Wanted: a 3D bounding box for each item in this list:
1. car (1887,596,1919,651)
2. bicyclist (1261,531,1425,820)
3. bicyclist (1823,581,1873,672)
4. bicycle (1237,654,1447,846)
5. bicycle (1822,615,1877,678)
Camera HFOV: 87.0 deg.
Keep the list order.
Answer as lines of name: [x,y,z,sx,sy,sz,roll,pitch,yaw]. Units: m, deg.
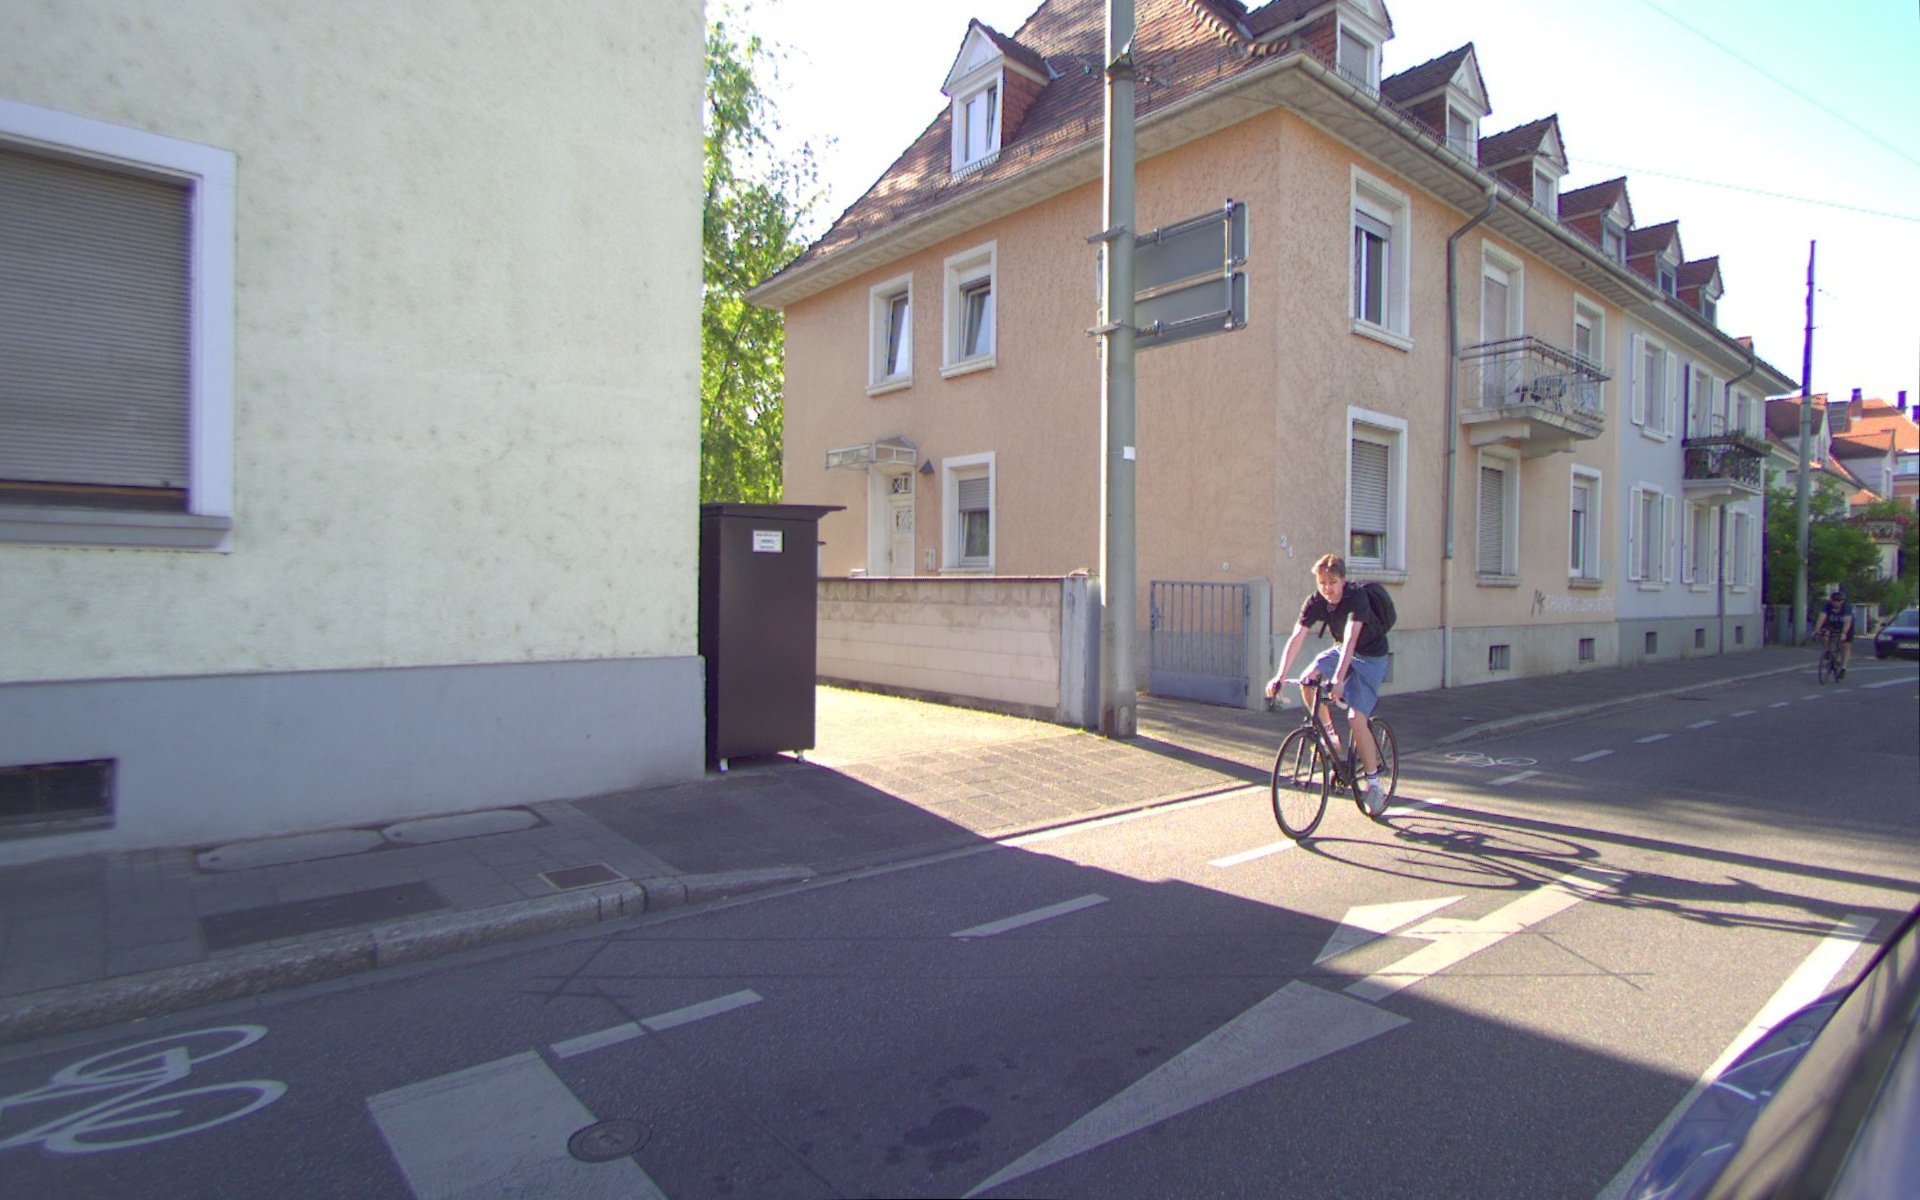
car: [26.710,0.622,27.403,4.347,1.425,1.866,0,1,-41]
bicyclist: [2.538,0.449,6.680,1.065,1.752,0.561,0,0,-40]
bicyclist: [16.517,0.471,18.826,0.999,1.637,0.561,0,1,-42]
bicycle: [2.564,0.917,6.691,1.727,1.029,0.533,0,1,-41]
bicycle: [16.599,0.846,18.870,1.764,1.076,0.550,-1,1,-42]
